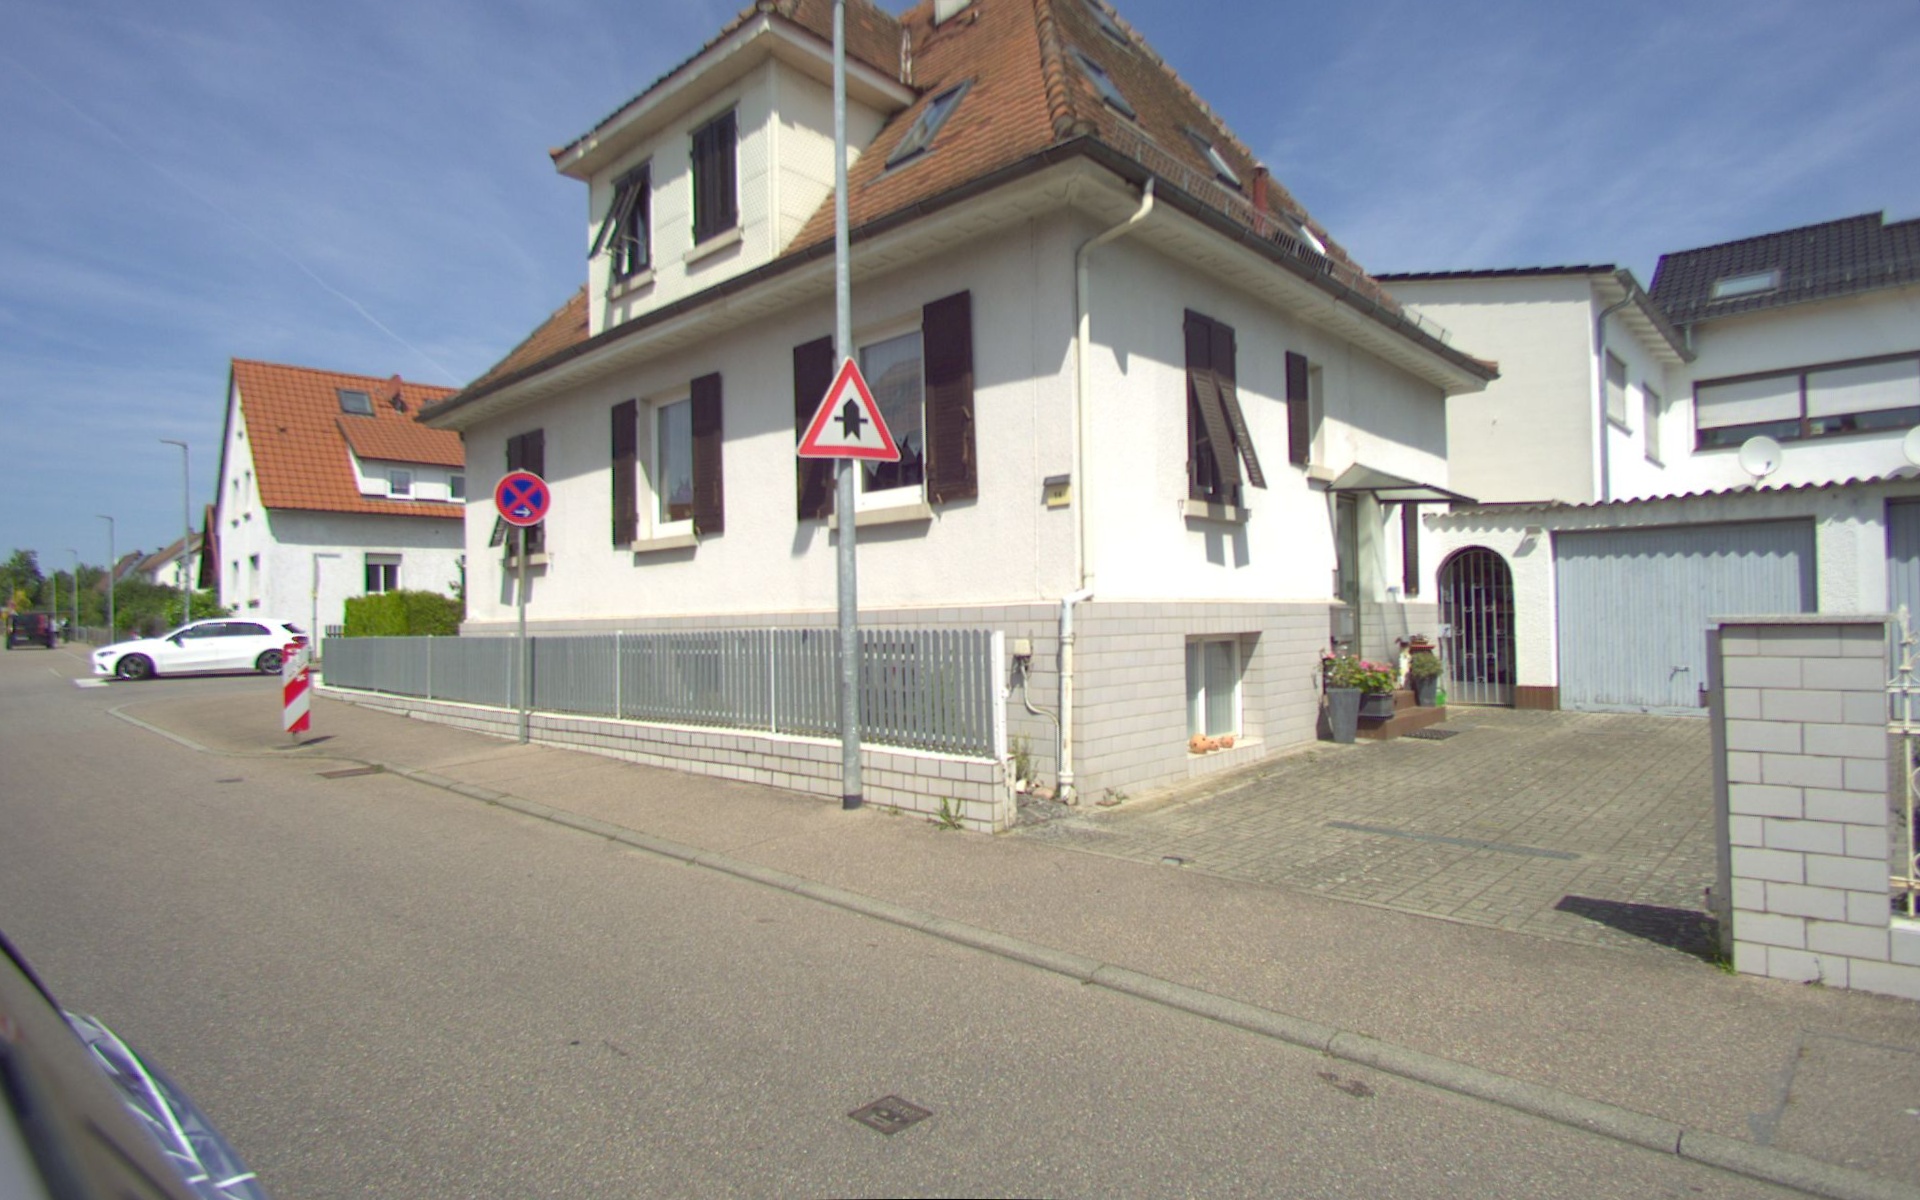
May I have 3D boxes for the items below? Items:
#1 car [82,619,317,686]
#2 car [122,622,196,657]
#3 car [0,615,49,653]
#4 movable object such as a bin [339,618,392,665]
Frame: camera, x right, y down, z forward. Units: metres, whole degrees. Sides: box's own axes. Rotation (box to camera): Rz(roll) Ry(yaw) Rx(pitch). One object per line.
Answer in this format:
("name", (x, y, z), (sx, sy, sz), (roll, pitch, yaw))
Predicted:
("car", (-18.558, 1.227, 24.987), (4.417, 1.408, 1.935), (-1, -1, -30))
("car", (-36.136, 1.741, 45.782), (1.801, 1.442, 4.577), (-1, 0, -28))
("car", (-51.905, 1.873, 56.110), (1.945, 1.966, 4.700), (-1, -1, -43))
("movable object such as a bin", (-17.910, 1.219, 30.491), (1.246, 1.323, 1.169), (-2, 0, -35))
